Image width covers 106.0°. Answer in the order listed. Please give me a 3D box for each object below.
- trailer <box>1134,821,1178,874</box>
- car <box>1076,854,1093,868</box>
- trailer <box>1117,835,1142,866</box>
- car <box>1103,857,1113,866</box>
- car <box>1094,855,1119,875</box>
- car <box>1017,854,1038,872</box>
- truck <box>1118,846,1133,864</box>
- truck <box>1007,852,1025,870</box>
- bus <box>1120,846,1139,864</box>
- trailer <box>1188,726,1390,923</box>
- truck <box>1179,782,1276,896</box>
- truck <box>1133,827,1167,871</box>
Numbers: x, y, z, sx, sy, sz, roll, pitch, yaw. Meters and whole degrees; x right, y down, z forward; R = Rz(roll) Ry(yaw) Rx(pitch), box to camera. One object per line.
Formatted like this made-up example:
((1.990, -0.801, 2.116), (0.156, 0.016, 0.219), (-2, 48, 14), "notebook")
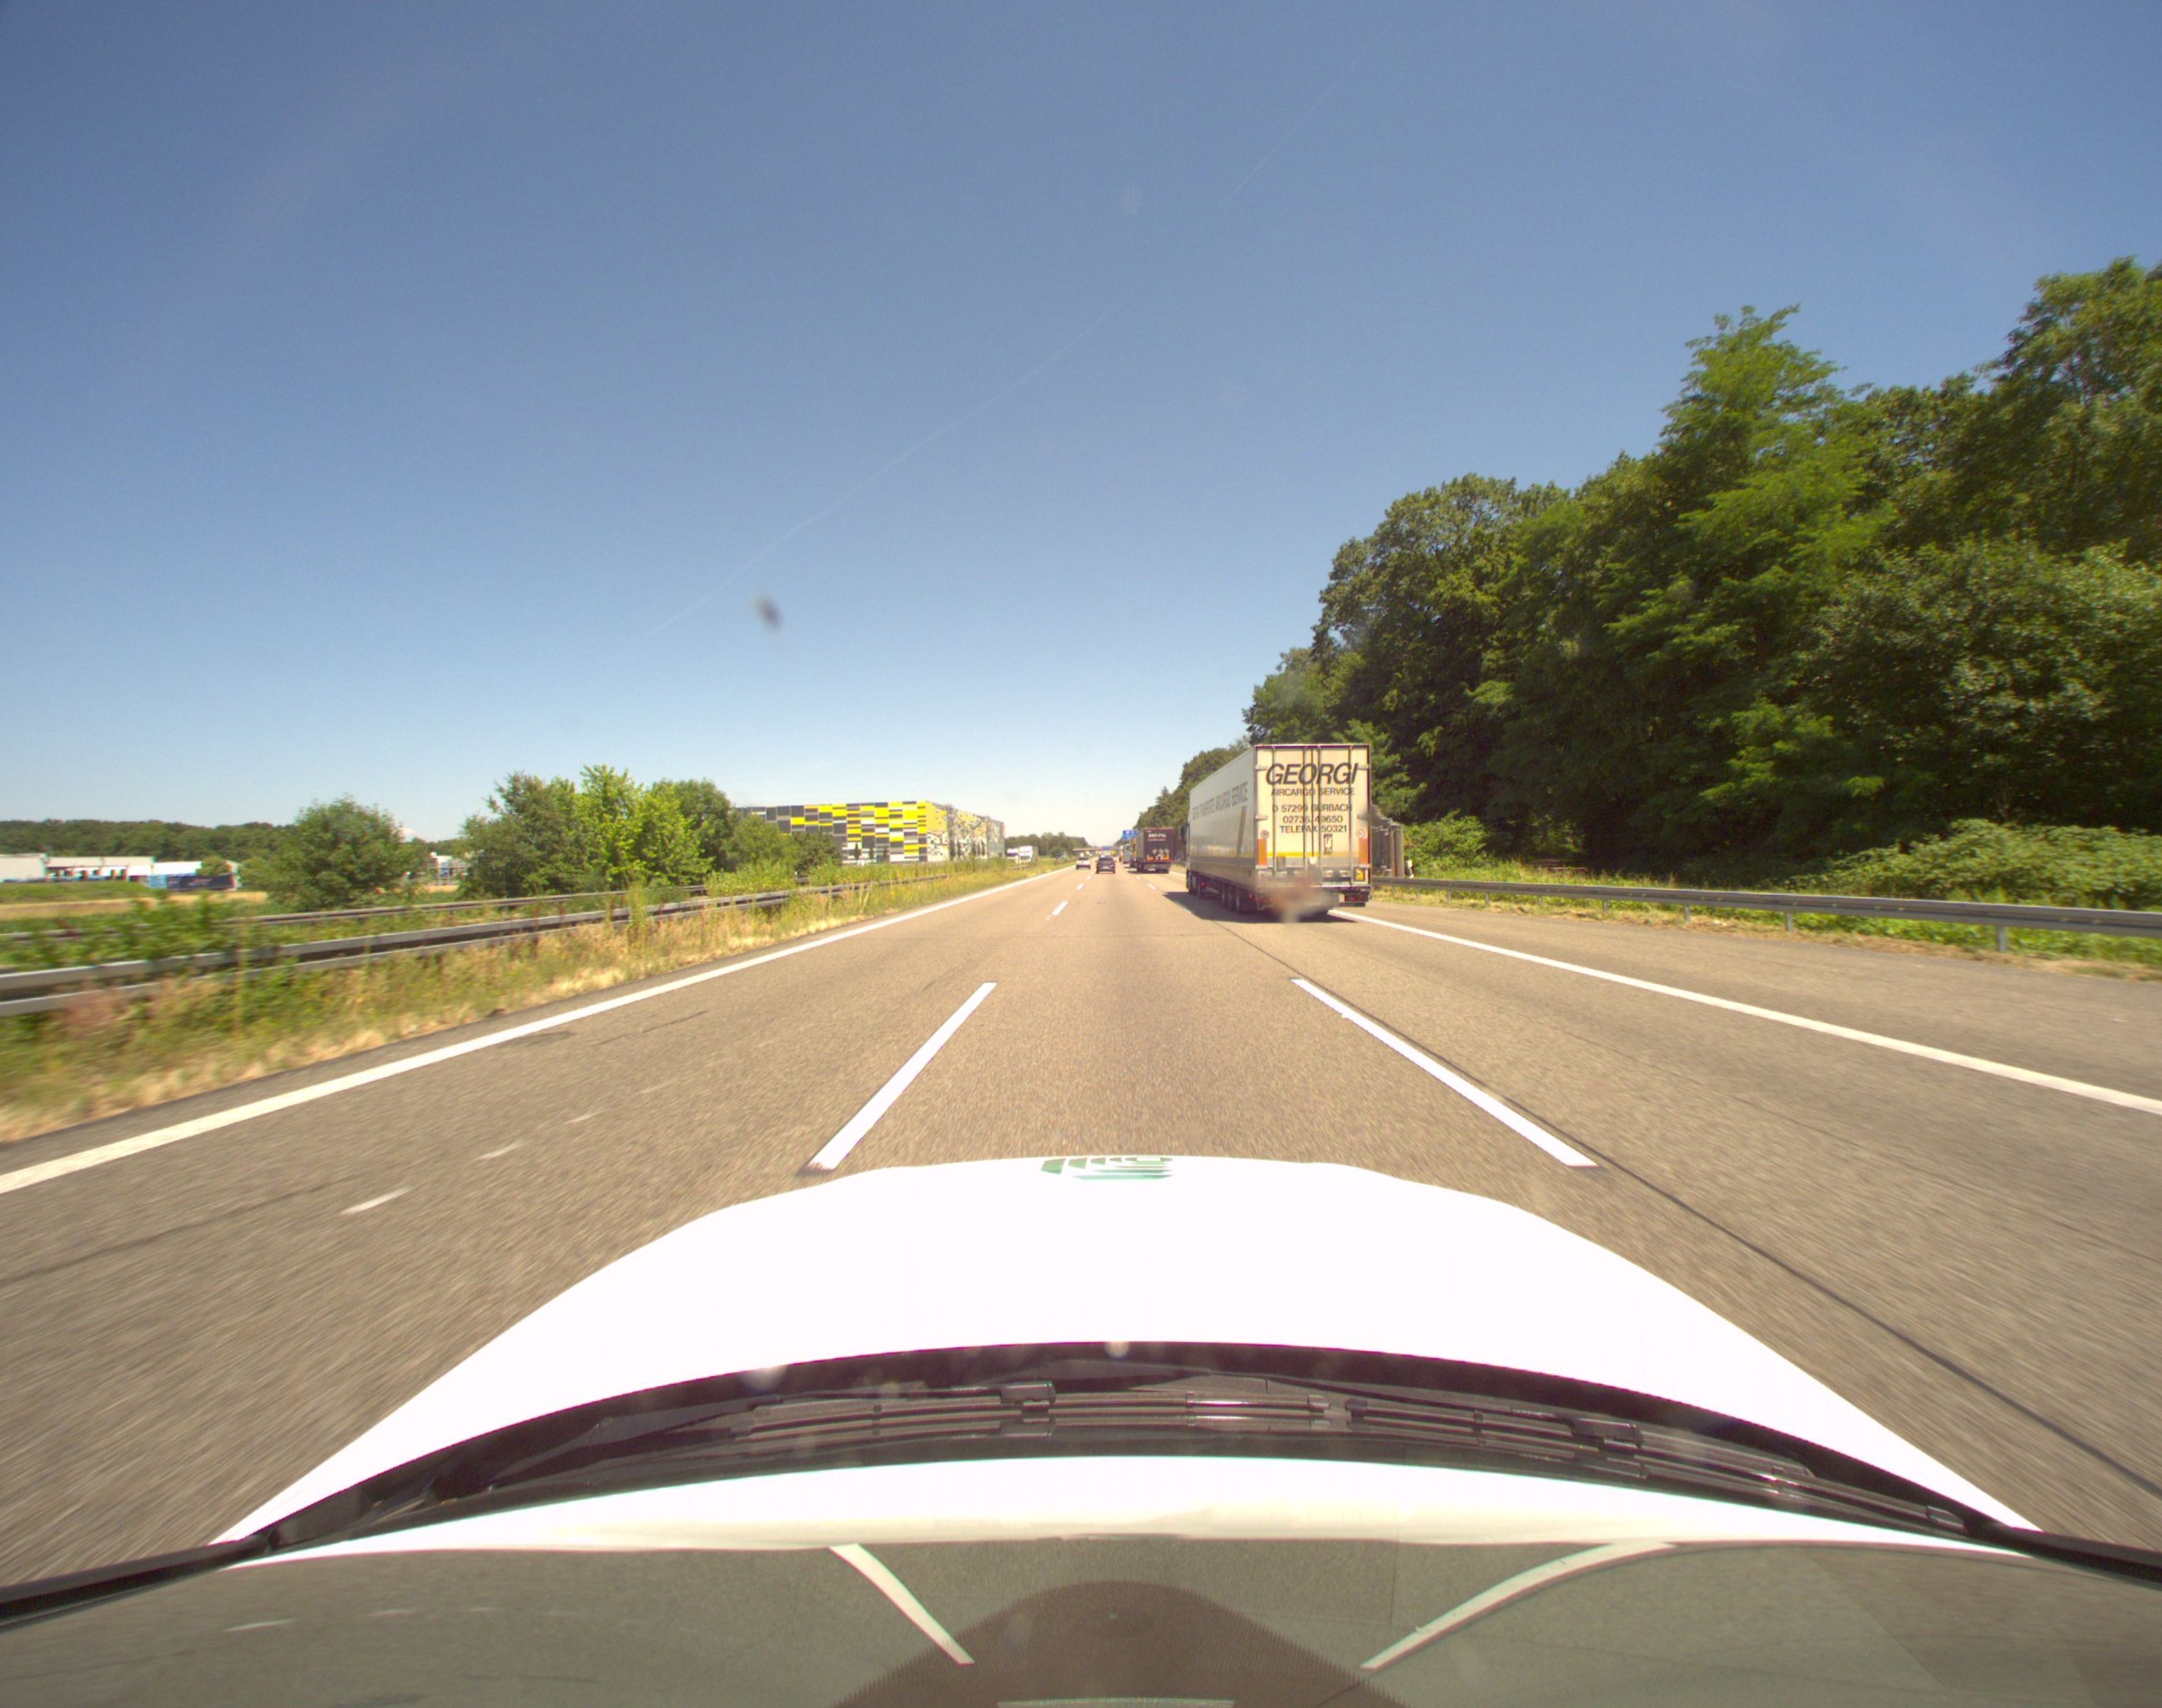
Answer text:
((7.007, -0.520, 78.032), (3.095, 4.507, 14.898), (-1, 0, 1), "trailer")
((0.434, 0.854, 102.528), (1.987, 1.728, 4.131), (-1, 0, 1), "car")
((6.402, -0.440, 108.377), (2.824, 3.953, 11.687), (-1, 0, 1), "trailer")
((5.416, 1.505, 161.828), (1.934, 1.706, 4.001), (-1, 0, 1), "car")
((2.381, 0.983, 75.852), (2.208, 1.790, 5.395), (-2, 0, 1), "car")
((-9.326, 1.482, 143.657), (2.536, 2.982, 8.092), (-2, 0, 4), "car")
((10.703, 0.153, 198.524), (3.409, 4.126, 9.570), (-2, 0, 3), "truck")
((-14.659, 1.571, 185.088), (2.639, 3.884, 10.831), (-4, 0, 2), "truck")
((9.135, 0.201, 154.640), (3.052, 3.326, 8.274), (-2, 0, 0), "bus")
((5.427, -0.612, 24.487), (2.982, 4.289, 13.422), (0, 0, 2), "trailer")
((5.666, -0.526, 32.459), (2.991, 4.125, 5.254), (-1, -1, 1), "truck")
((7.189, -0.457, 85.262), (3.077, 4.441, 6.053), (-1, -1, 1), "truck")
